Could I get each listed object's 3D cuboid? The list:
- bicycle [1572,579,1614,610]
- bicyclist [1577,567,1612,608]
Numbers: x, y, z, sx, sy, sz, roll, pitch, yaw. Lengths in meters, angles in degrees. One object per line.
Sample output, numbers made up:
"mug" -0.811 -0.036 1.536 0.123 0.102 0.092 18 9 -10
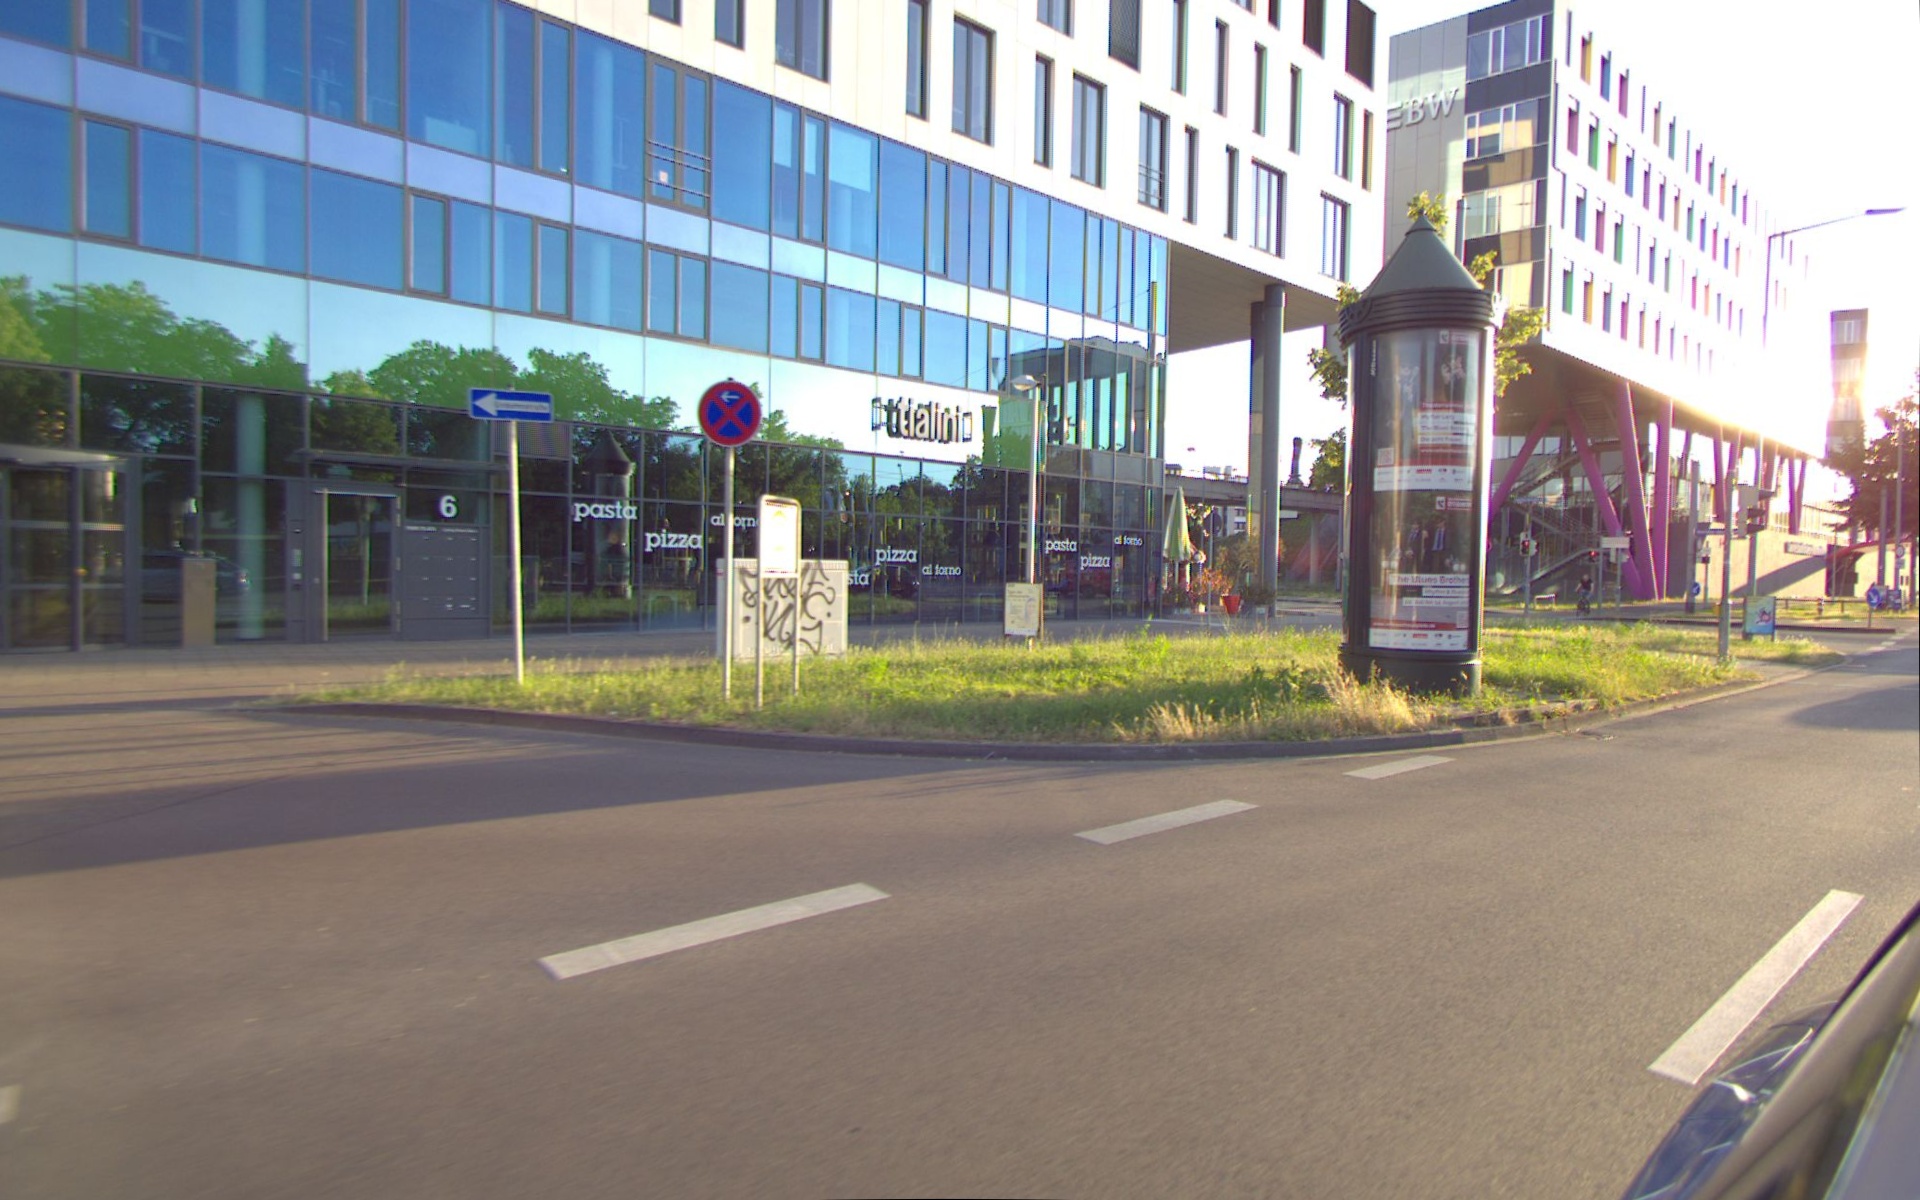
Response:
"bicycle" 26.325 -0.255 42.063 2.071 1.221 0.743 -1 3 -37
"bicyclist" 26.374 -0.529 42.051 1.264 1.653 0.807 -1 2 -38
